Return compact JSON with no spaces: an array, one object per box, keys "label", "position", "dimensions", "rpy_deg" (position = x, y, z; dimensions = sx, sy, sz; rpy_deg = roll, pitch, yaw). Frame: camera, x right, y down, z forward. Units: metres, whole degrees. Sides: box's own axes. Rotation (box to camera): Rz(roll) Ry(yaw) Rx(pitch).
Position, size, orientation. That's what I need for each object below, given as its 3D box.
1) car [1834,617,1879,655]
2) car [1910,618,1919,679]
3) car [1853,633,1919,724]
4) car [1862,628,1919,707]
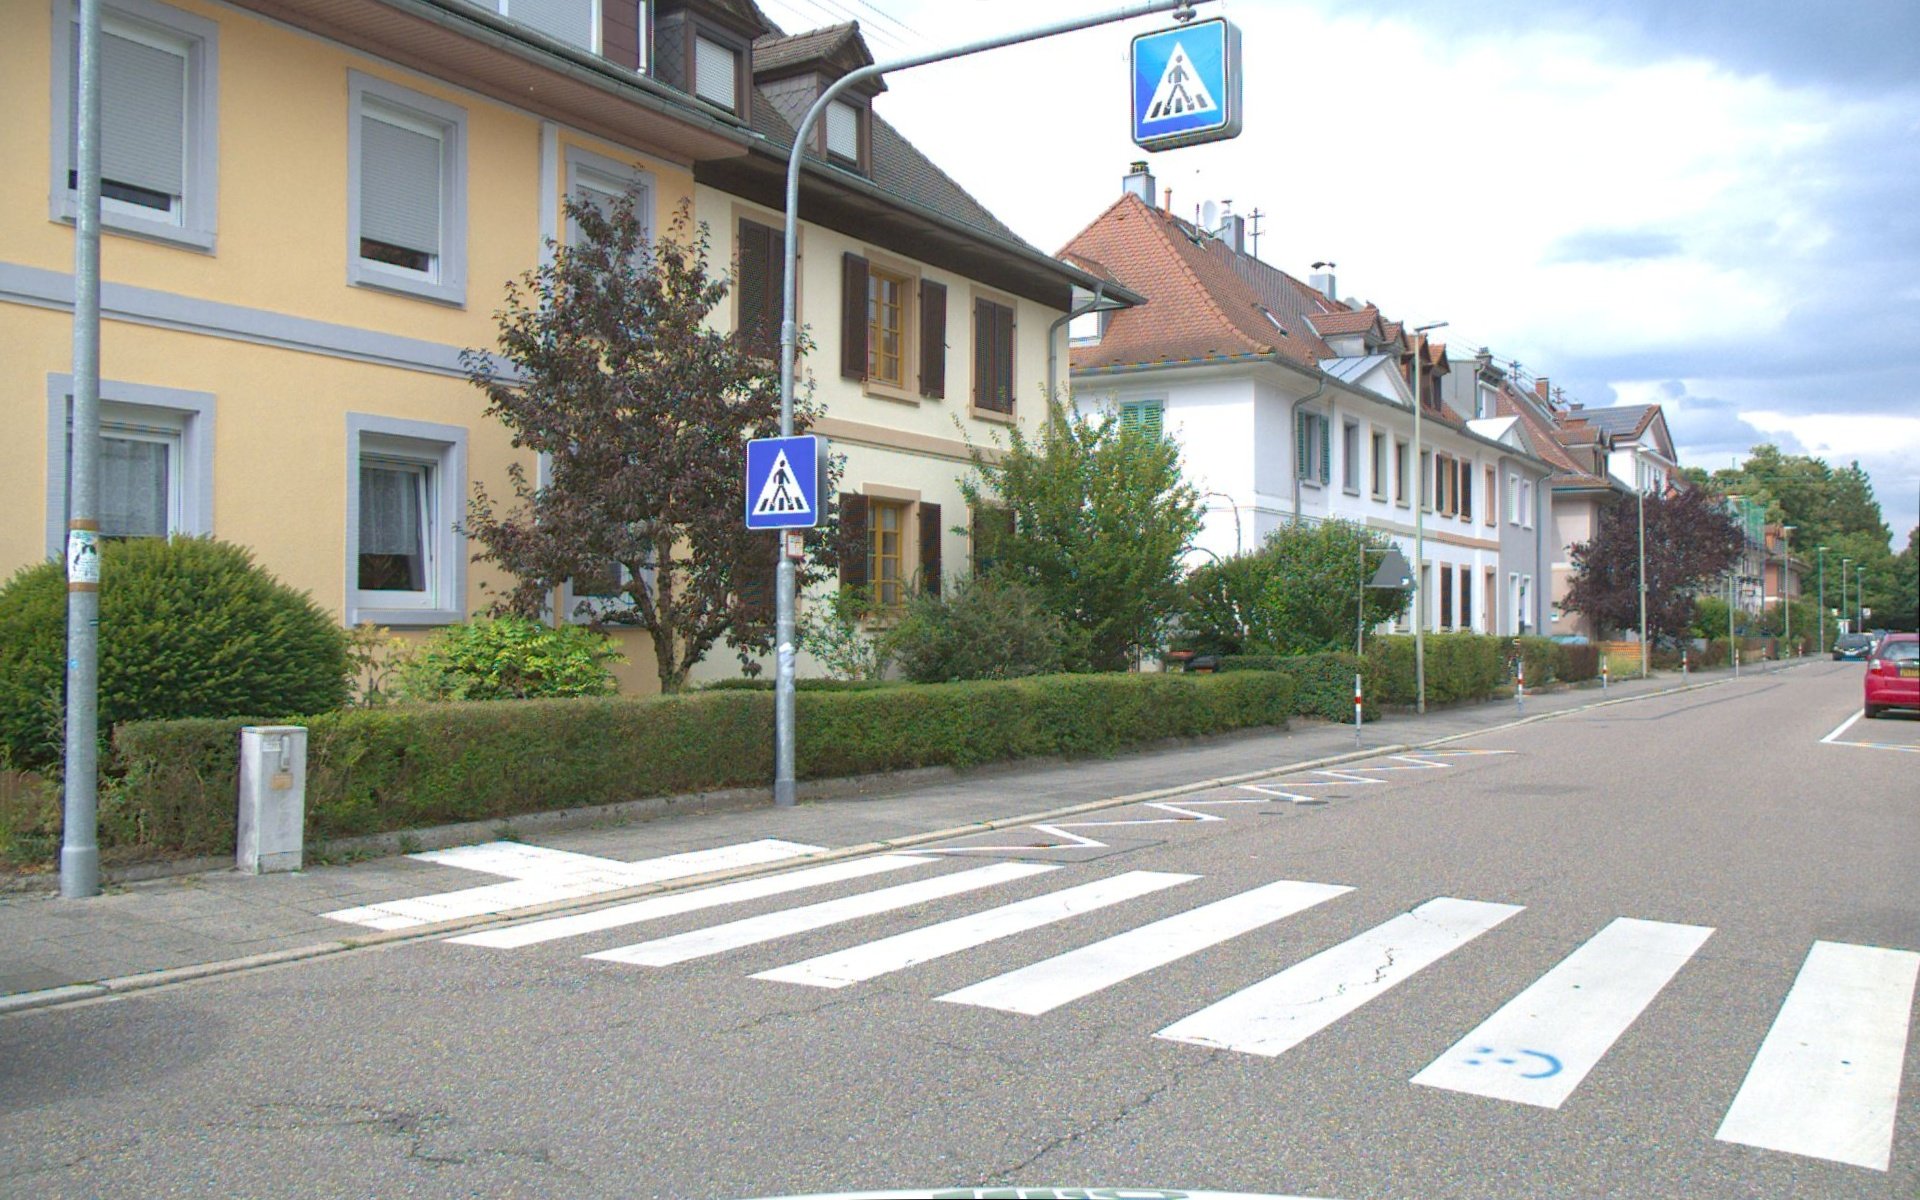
[{"label":"car","position":[49.495,1.964,91.243],"dimensions":[1.957,2.049,3.990],"rpy_deg":[-1,-1,32]},{"label":"car","position":[32.640,1.592,54.721],"dimensions":[1.957,1.937,3.990],"rpy_deg":[-1,-1,31]},{"label":"car","position":[17.872,1.420,30.824],"dimensions":[1.957,1.601,3.990],"rpy_deg":[-1,-1,31]},{"label":"car","position":[20.490,1.405,35.326],"dimensions":[1.957,1.601,3.990],"rpy_deg":[-1,-1,31]}]
